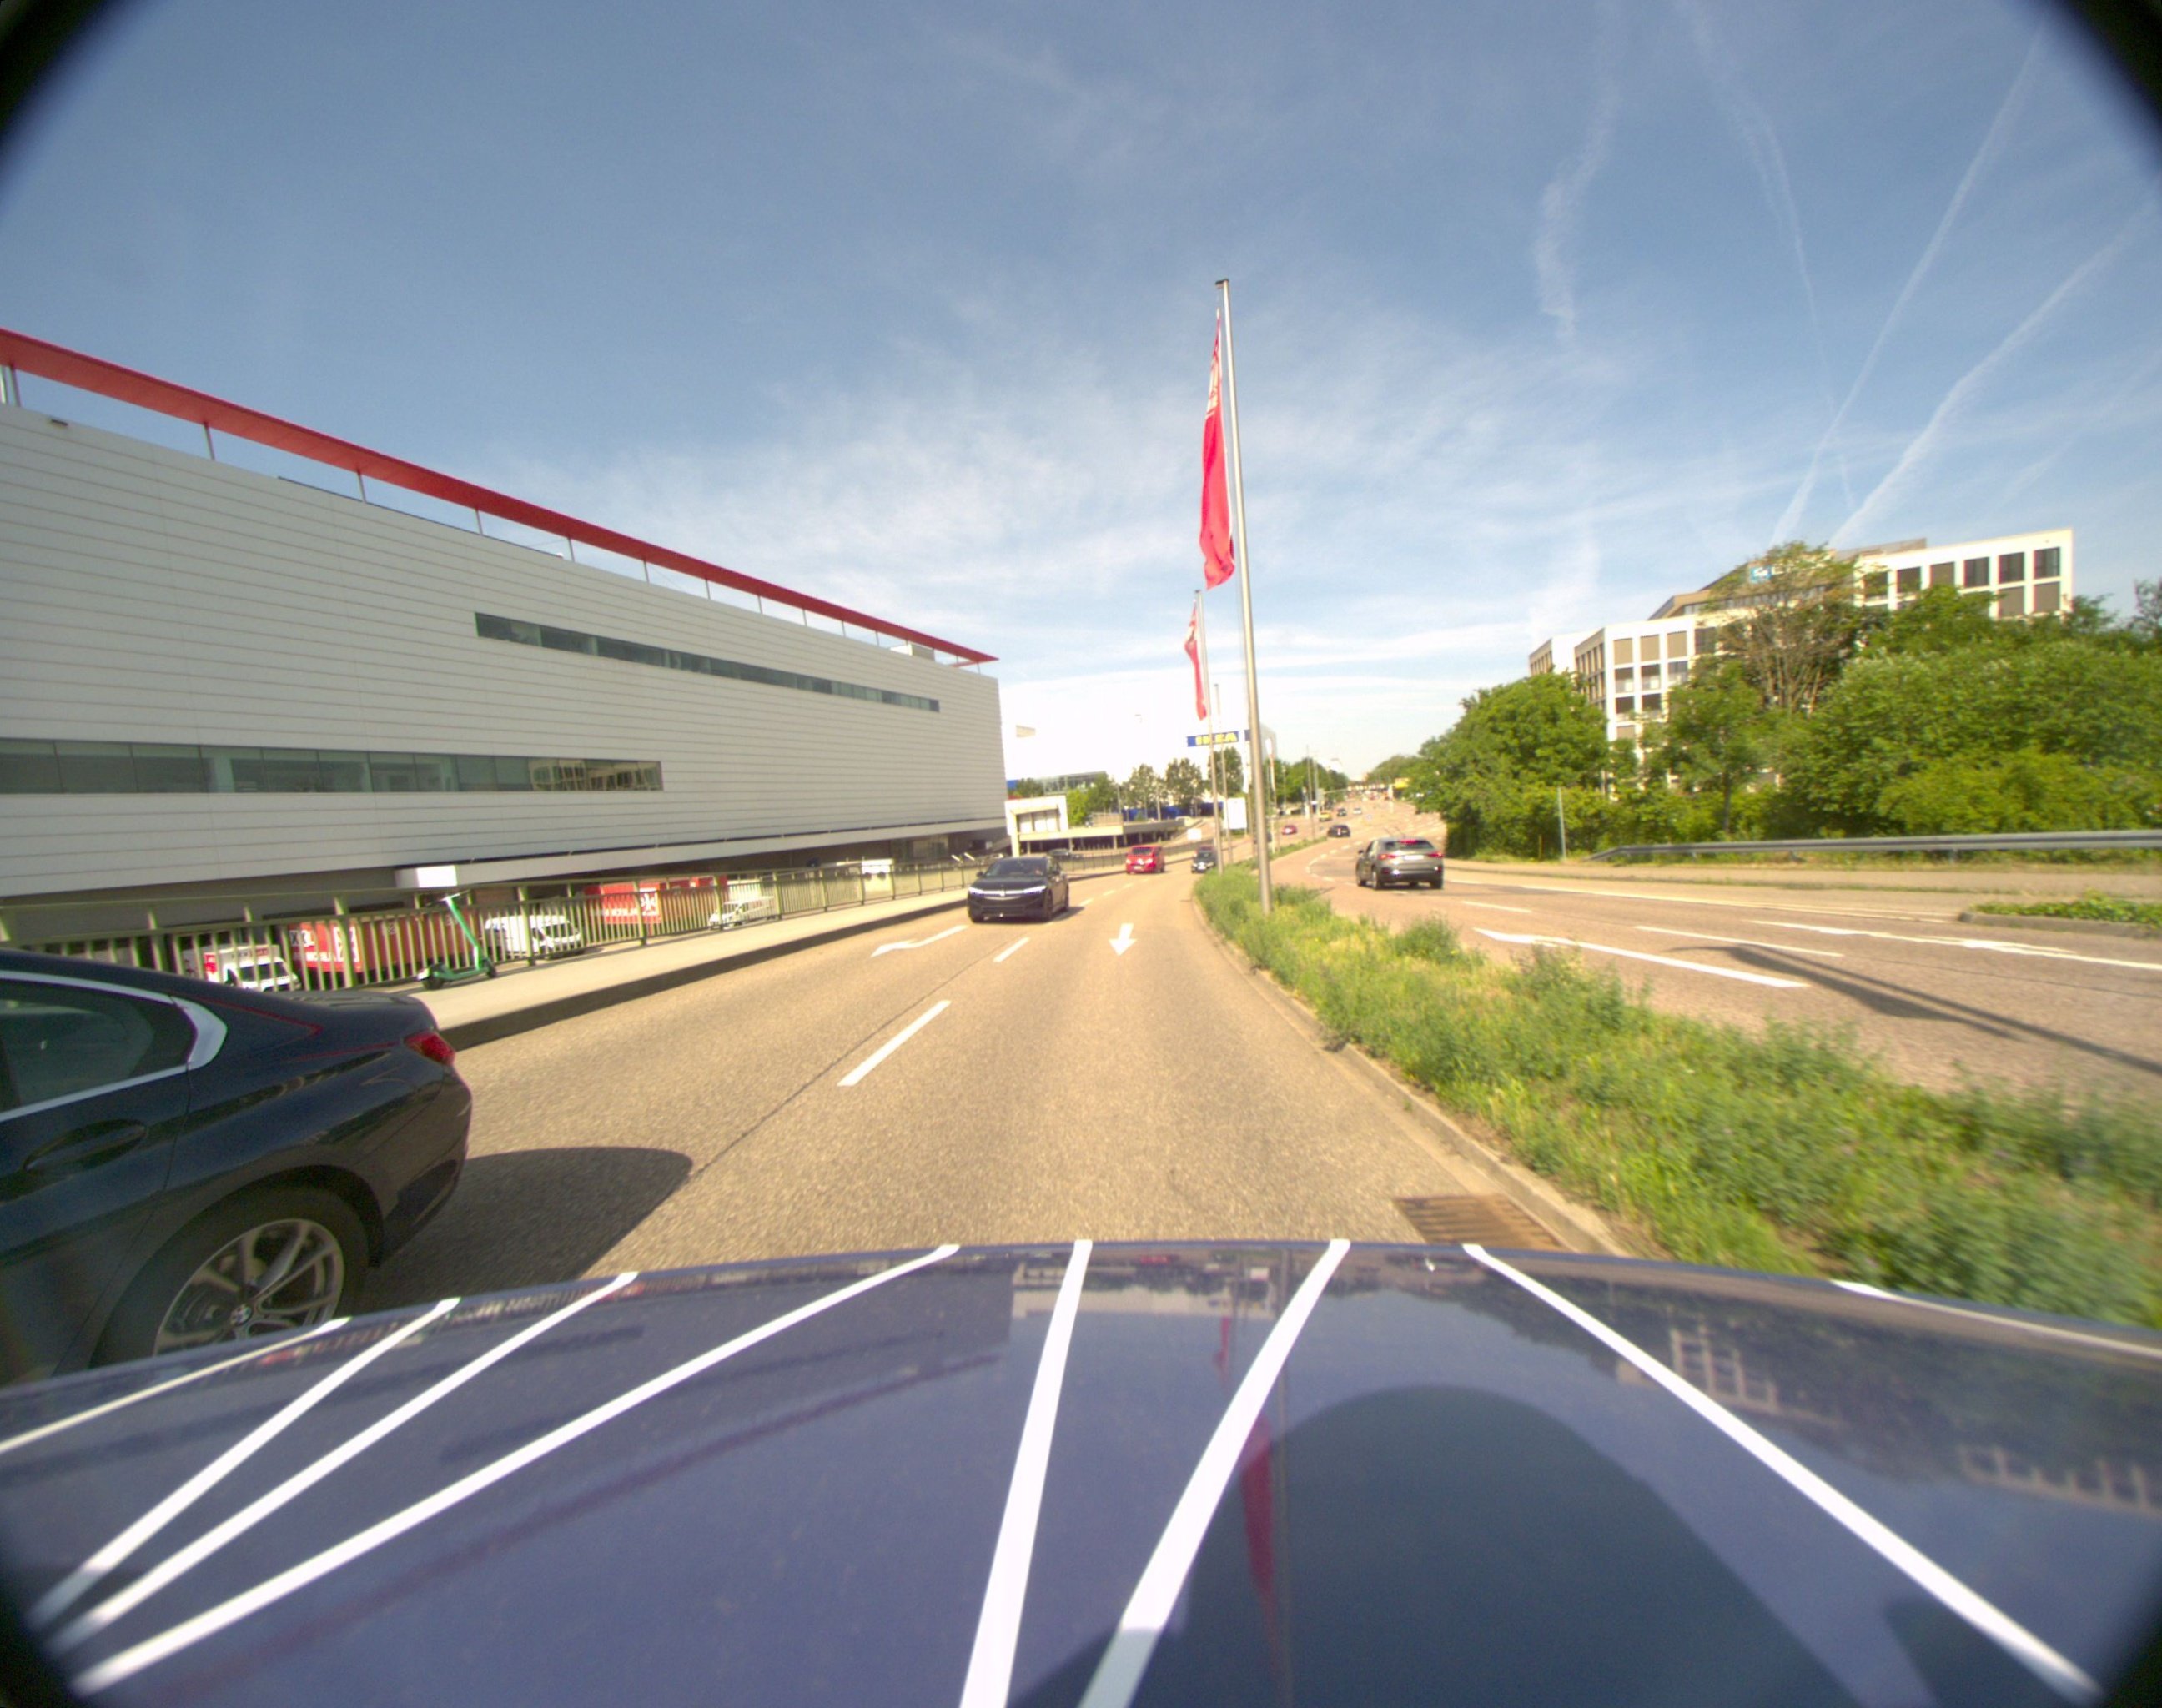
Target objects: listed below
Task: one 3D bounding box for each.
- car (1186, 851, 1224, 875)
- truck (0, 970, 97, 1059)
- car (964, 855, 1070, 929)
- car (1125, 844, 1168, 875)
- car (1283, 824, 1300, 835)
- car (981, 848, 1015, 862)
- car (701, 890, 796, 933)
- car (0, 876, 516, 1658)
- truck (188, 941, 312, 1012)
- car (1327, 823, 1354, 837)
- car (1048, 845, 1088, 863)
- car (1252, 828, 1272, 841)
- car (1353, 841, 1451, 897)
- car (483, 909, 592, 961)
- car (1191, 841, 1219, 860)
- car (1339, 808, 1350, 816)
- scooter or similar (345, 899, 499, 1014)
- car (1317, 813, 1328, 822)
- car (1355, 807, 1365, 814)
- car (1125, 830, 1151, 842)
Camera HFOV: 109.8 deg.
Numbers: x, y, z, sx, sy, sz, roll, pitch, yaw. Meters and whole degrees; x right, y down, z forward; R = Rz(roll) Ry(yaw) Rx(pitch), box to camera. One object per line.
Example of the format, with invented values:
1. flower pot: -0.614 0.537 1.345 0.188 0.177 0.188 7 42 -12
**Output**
1. car: 8.546 0.596 52.223 1.847 1.410 4.004 -1 2 19
2. truck: -43.368 6.470 31.166 5.998 2.912 2.134 -3 4 25
3. car: -1.445 0.839 18.792 1.860 1.520 4.145 1 1 6
4. car: 4.575 0.359 52.485 1.985 1.896 4.148 -1 2 19
5. car: 32.060 -3.729 115.668 1.823 1.467 4.003 -2 4 23
6. car: -10.675 0.131 97.747 3.861 1.368 1.813 -4 2 22
7. car: -22.729 3.874 52.303 2.127 1.994 6.017 -2 4 23
8. car: -3.163 1.025 0.643 1.792 1.476 4.517 -4 4 1
9. truck: -40.896 5.940 37.364 5.998 2.912 2.134 -3 4 25
10. car: 32.729 -3.068 95.942 1.861 1.521 4.141 -3 4 0
11. car: -1.582 0.008 91.839 4.406 1.723 1.864 -3 4 31
12. car: 23.437 -2.542 98.386 1.823 1.467 4.003 -2 4 23
13. car: 9.455 0.411 22.744 1.787 1.476 4.263 -2 0 10
14. car: -32.151 4.815 44.941 5.999 2.607 2.134 -4 4 22
15. car: 11.835 -0.353 72.167 1.774 1.649 4.148 -1 3 21
16. car: 56.760 -9.057 163.804 1.822 1.467 4.004 -2 4 25
17. scooter or similar: -7.757 1.161 9.035 0.512 1.136 1.481 -4 1 -4
18. car: 47.211 -7.197 148.465 1.823 1.467 4.003 -2 4 23
19. car: 60.983 -9.504 165.950 1.823 1.467 4.003 -2 4 23
20. car: 10.428 -3.349 139.601 4.310 1.824 2.002 -3 2 16
